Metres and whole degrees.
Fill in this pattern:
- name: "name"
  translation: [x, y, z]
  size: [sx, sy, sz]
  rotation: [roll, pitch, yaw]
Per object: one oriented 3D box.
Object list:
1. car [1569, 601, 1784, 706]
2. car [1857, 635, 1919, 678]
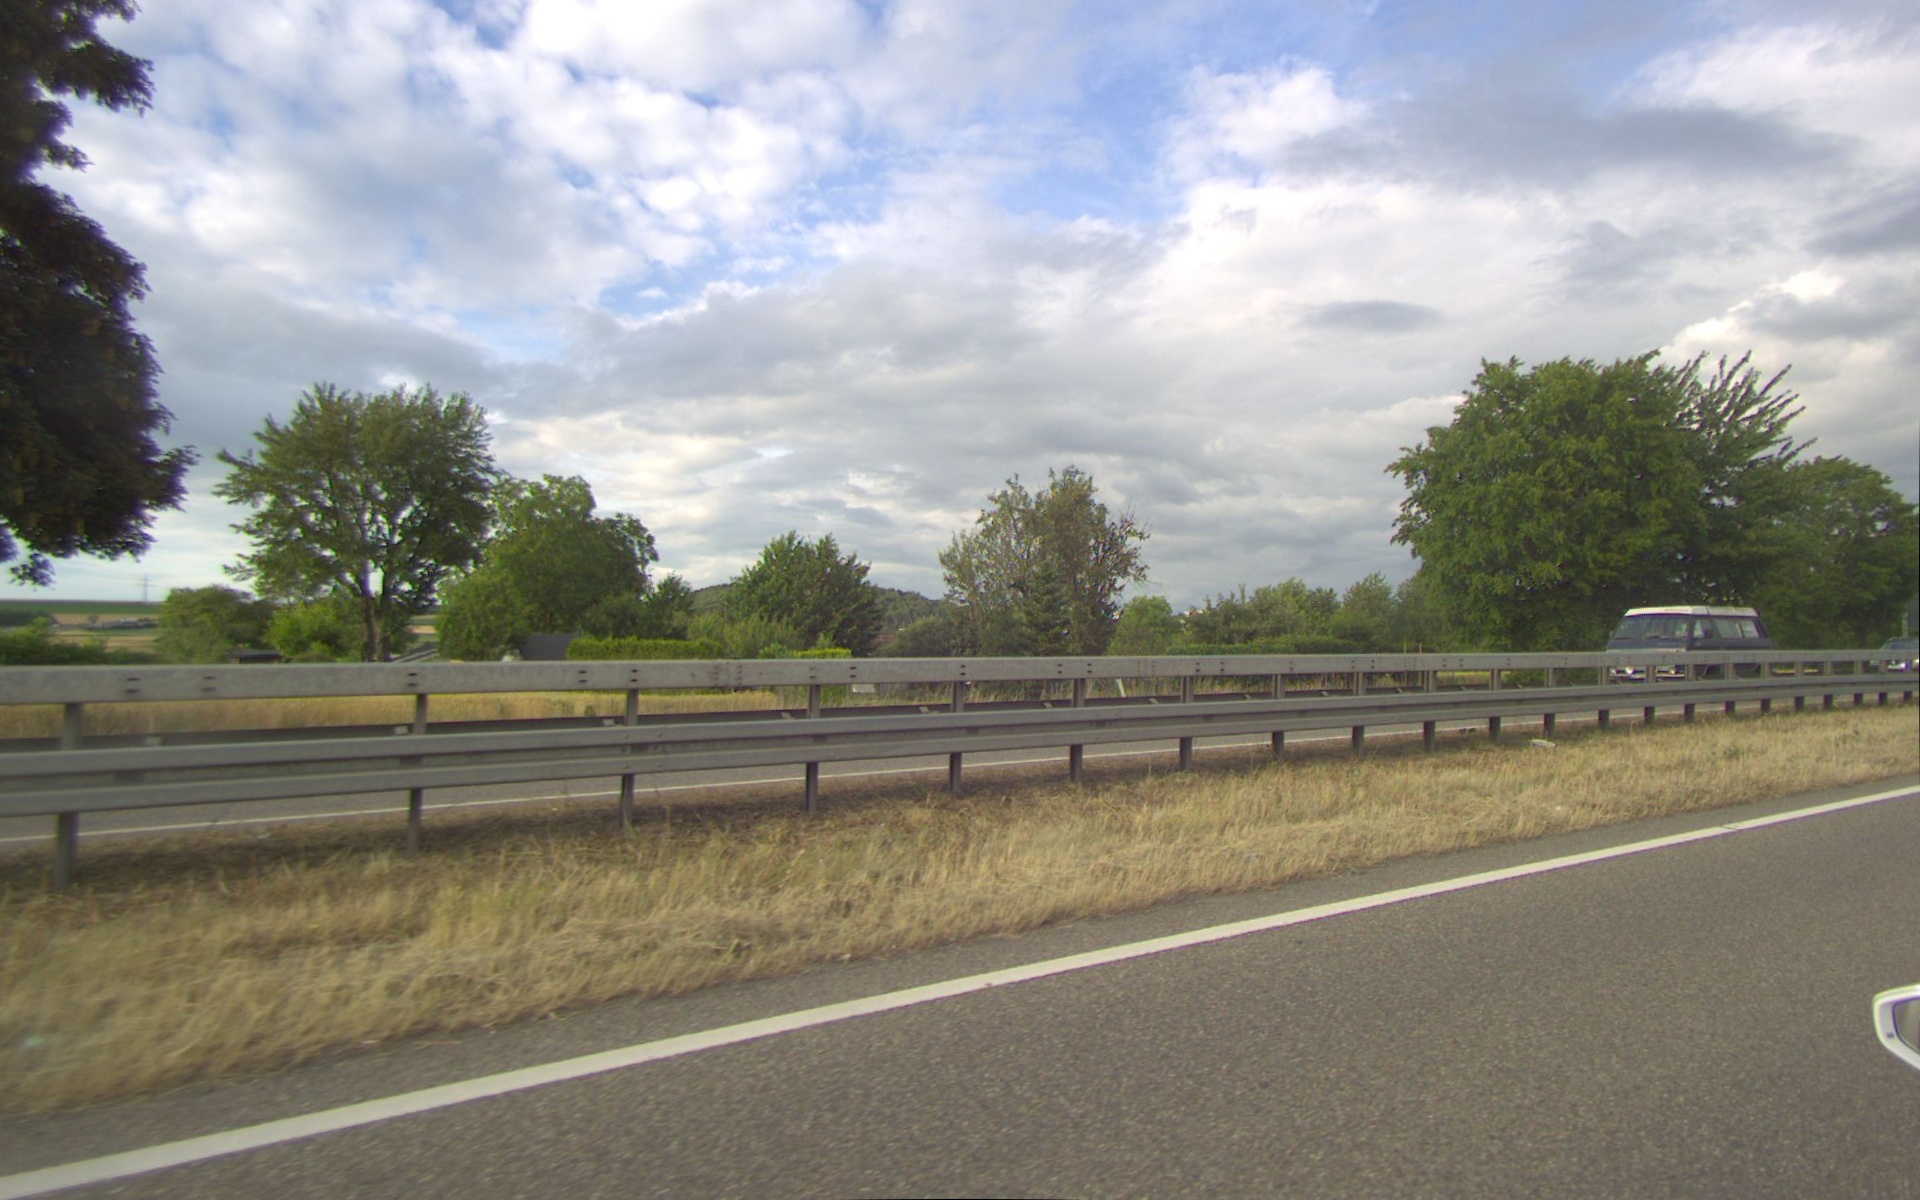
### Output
- name: "car"
  translation: [16.417, 1.206, 22.951]
  size: [5.256, 2.169, 1.984]
  rotation: [1, -3, -30]
- name: "car"
  translation: [38.010, 2.249, 40.256]
  size: [4.430, 1.647, 1.789]
  rotation: [2, -3, -30]
